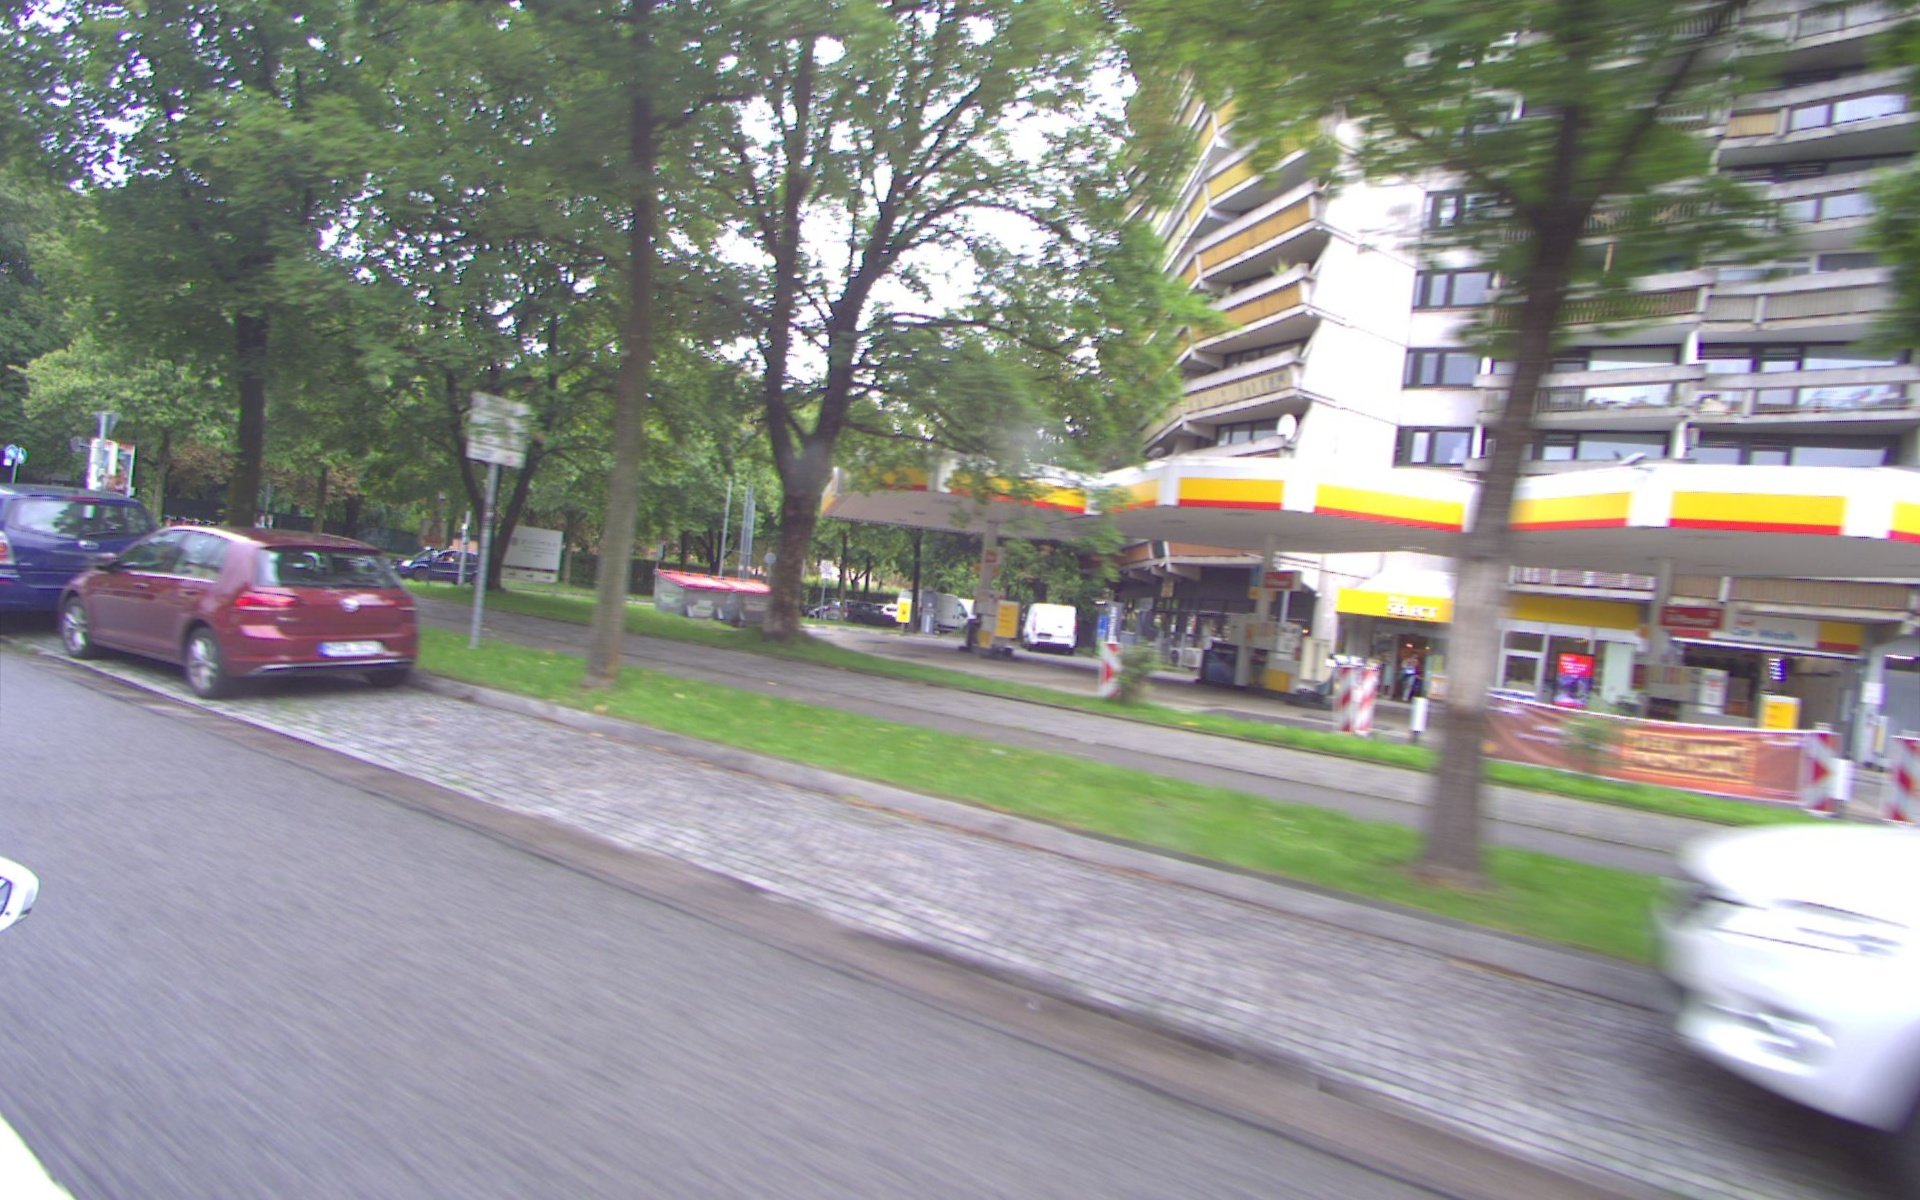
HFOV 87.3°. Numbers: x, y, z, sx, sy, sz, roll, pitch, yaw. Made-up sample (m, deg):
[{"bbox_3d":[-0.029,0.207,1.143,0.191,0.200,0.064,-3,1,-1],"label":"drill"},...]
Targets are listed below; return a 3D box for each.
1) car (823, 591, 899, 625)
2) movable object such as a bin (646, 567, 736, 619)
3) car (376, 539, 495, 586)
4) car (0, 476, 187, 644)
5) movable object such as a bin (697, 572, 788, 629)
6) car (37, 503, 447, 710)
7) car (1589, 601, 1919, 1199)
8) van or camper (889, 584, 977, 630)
[{"bbox_3d":[-5.351,0.448,54.775,1.742,1.633,4.021,8,4,38],"label":"car"},{"bbox_3d":[-8.083,-0.193,30.306,1.506,1.278,2.062,7,0,31],"label":"movable object such as a bin"},{"bbox_3d":[-21.595,-1.525,41.528,1.903,1.633,3.872,8,4,38],"label":"car"},{"bbox_3d":[-11.212,-0.599,12.216,4.216,1.682,1.760,7,5,36],"label":"car"},{"bbox_3d":[-6.950,0.025,32.219,1.807,1.505,2.063,7,0,31],"label":"movable object such as a bin"},{"bbox_3d":[-7.154,-0.048,9.916,4.210,1.444,1.711,7,4,30],"label":"car"},{"bbox_3d":[4.537,1.183,2.852,4.452,1.855,1.761,7,2,31],"label":"car"},{"bbox_3d":[-1.579,0.420,60.416,2.522,2.395,5.077,8,5,38],"label":"van or camper"}]
